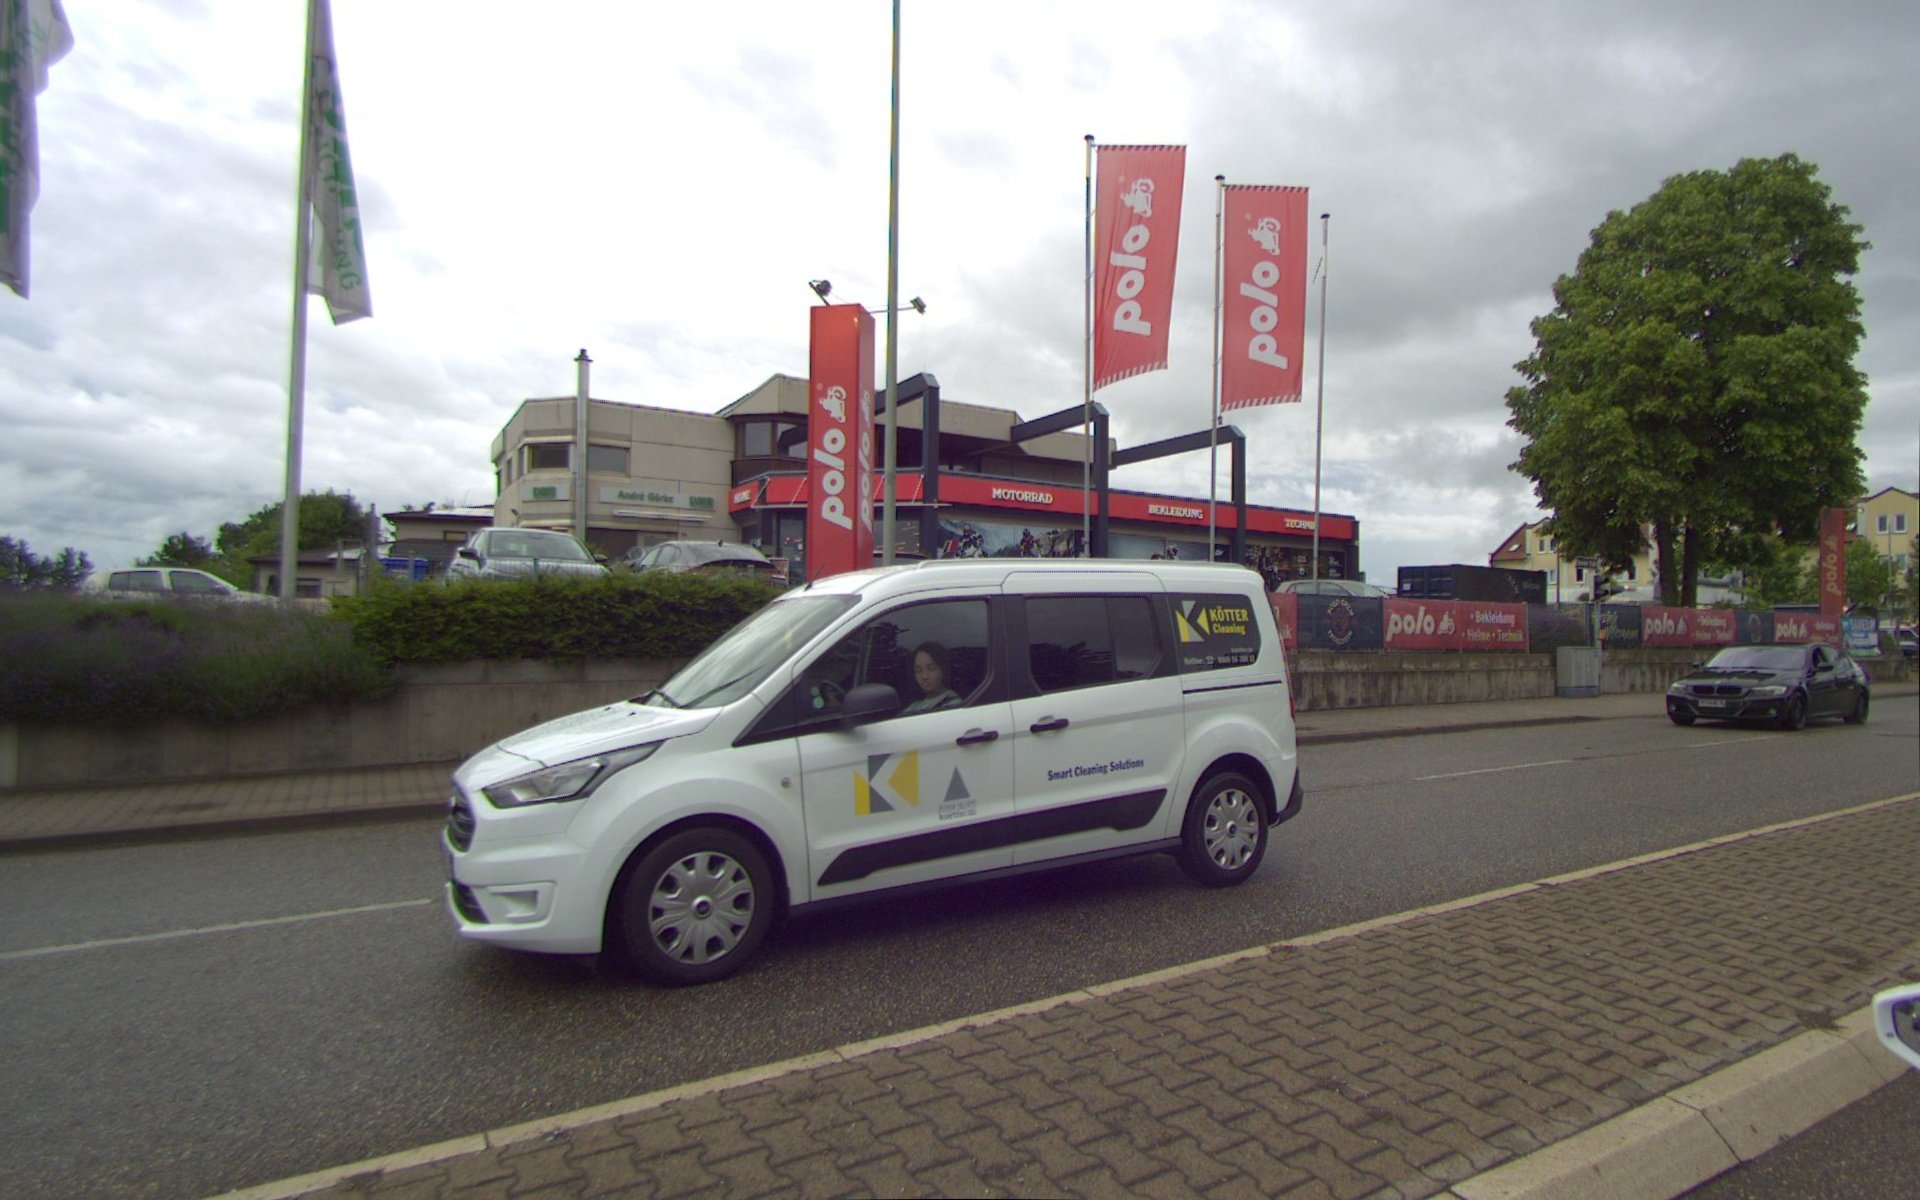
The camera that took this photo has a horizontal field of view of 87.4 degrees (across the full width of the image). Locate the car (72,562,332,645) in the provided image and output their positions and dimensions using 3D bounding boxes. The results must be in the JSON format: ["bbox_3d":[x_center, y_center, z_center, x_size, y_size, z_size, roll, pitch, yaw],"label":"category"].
[{"bbox_3d":[-15.066,0.124,20.260,3.955,1.532,1.667,1,-2,-30],"label":"car"}]

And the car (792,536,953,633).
[{"bbox_3d":[-1.621,-0.200,17.680,1.564,1.529,3.399,1,-1,-30],"label":"car"}]

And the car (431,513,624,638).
[{"bbox_3d":[-6.194,-0.257,14.159,1.725,1.502,3.800,1,-1,-36],"label":"car"}]

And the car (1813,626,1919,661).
[{"bbox_3d":[40.306,1.876,44.086,4.136,1.475,1.796,-1,-2,34],"label":"car"}]

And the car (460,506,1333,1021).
[{"bbox_3d":[-0.183,0.674,5.610,4.528,1.847,1.848,1,-3,-32],"label":"car"}]

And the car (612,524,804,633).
[{"bbox_3d":[-4.052,-0.257,15.800,1.725,1.502,3.622,1,-1,-36],"label":"car"}]

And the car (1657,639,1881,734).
[{"bbox_3d":[13.724,1.376,16.998,4.024,1.400,1.660,1,-1,-31],"label":"car"}]

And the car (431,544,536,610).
[{"bbox_3d":[-12.022,-0.507,25.225,1.855,1.502,3.803,1,-1,-34],"label":"car"}]
